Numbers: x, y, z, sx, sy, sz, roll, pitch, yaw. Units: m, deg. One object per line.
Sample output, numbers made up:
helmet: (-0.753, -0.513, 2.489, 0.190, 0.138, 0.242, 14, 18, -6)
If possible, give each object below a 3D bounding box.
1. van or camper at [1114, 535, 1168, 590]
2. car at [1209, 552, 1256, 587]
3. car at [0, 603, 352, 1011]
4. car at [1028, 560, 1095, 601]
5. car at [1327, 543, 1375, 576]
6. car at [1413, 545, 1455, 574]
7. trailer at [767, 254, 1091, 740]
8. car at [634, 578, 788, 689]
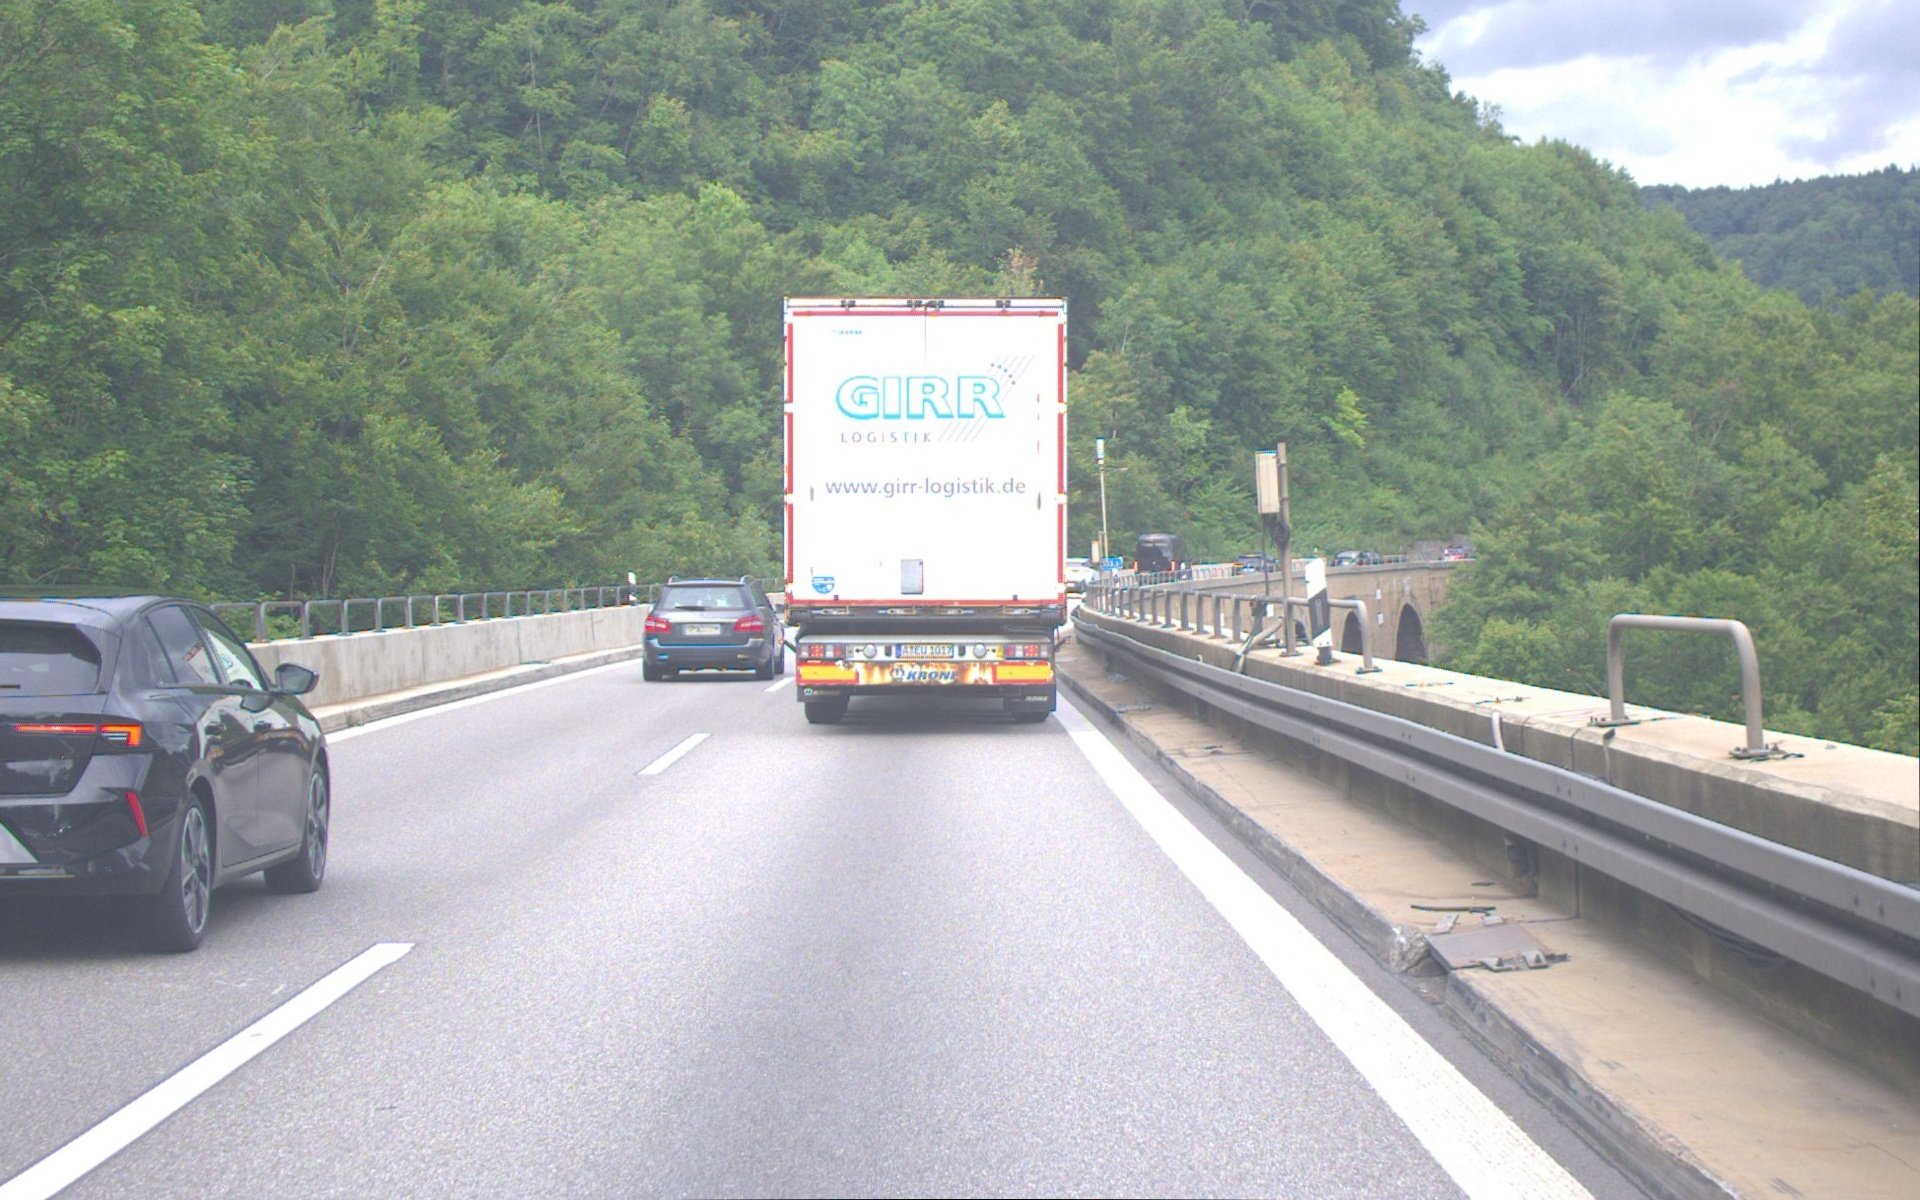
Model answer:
van or camper: (8.640, -1.760, 164.102, 1.994, 2.551, 3.998, -1, 0, 11)
car: (13.715, -1.531, 172.655, 1.994, 1.678, 3.998, -1, 0, 10)
car: (-3.895, 0.768, 14.924, 1.773, 1.456, 4.582, 0, 0, -1)
car: (4.174, -0.801, 141.320, 1.995, 1.612, 3.998, -1, 0, 13)
car: (22.724, -2.340, 199.685, 1.995, 1.788, 3.996, -1, 0, 19)
car: (31.470, -2.674, 228.194, 1.995, 1.788, 3.996, -1, 0, 19)
trailer: (-0.352, -0.920, 36.850, 2.813, 4.288, 12.245, -1, 0, -1)
car: (-3.554, 0.464, 49.726, 1.883, 1.505, 4.419, -1, 0, 0)
